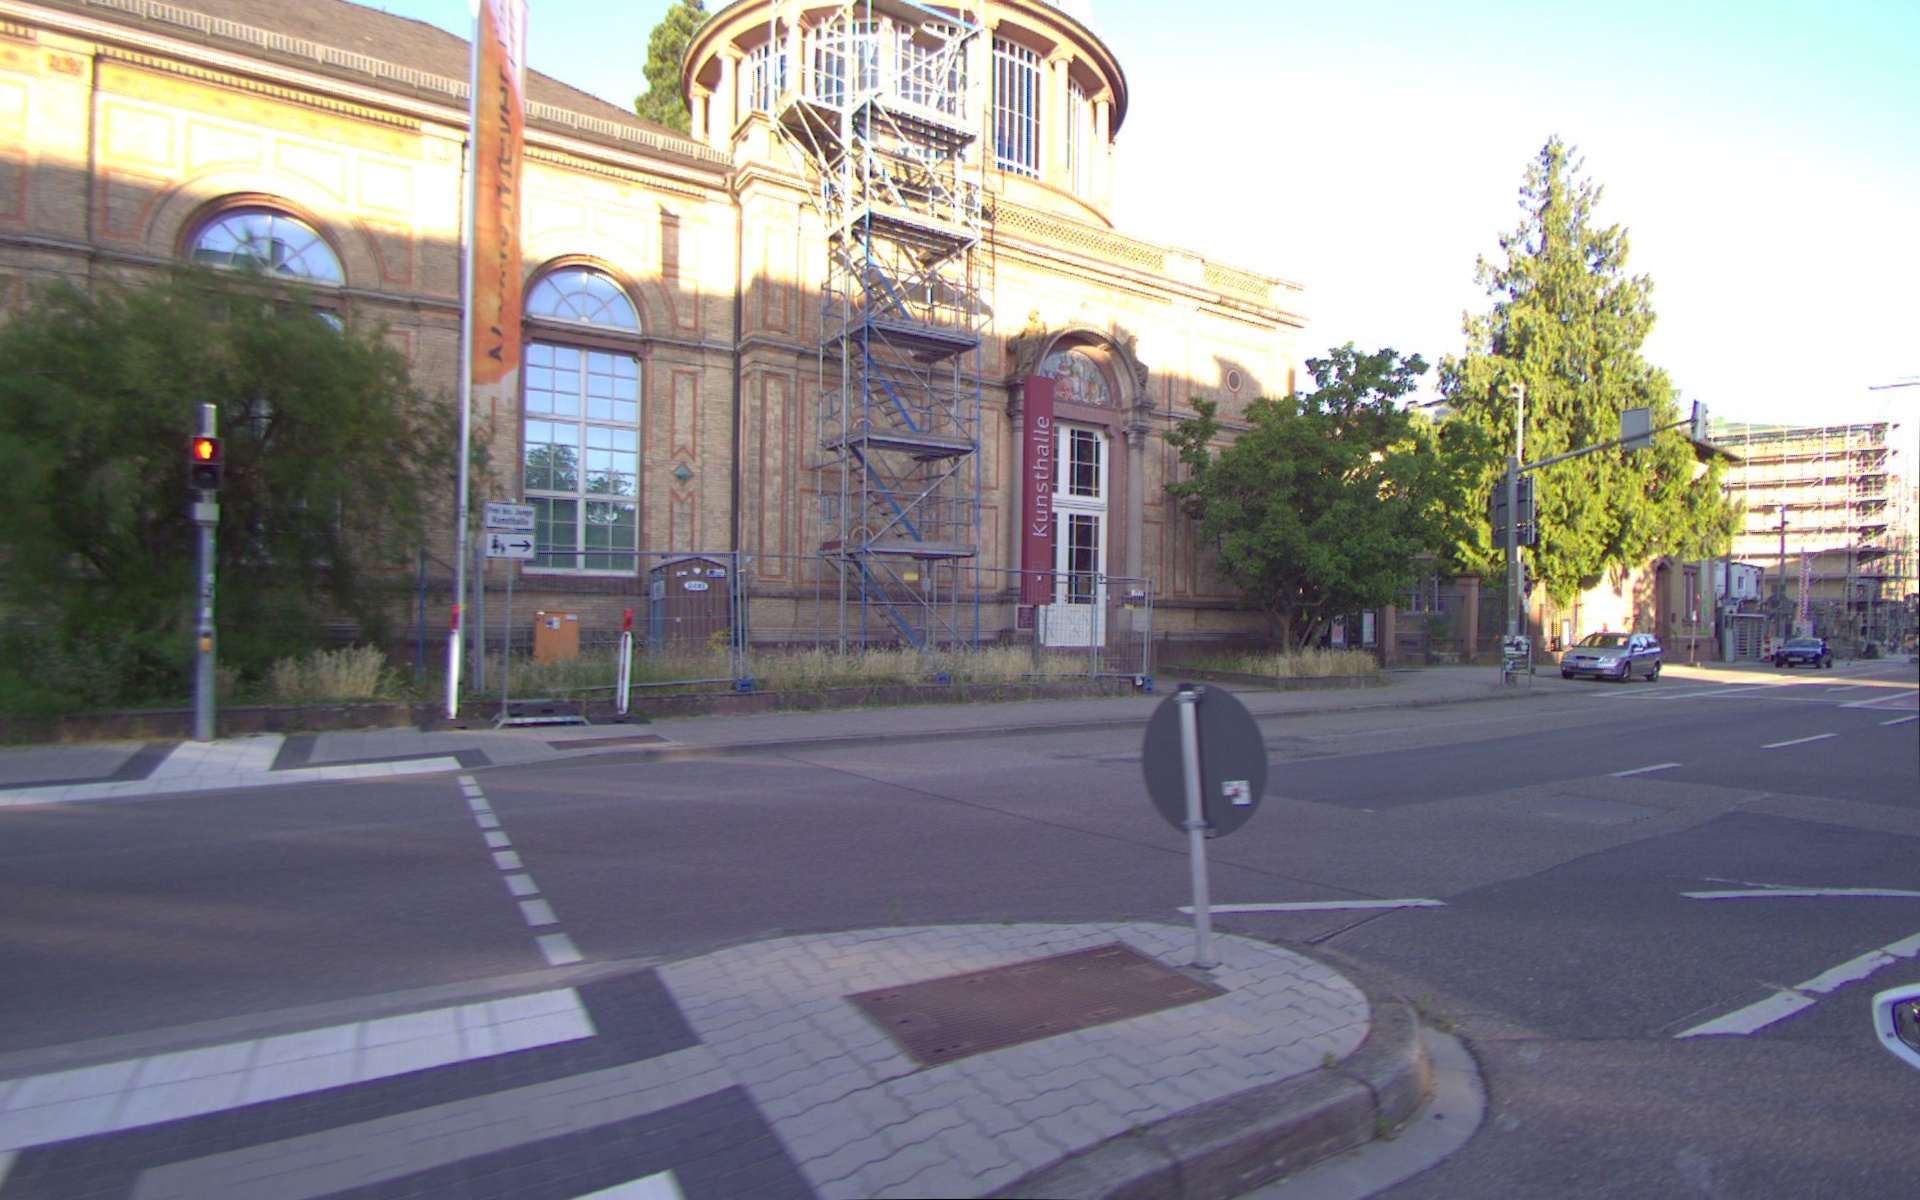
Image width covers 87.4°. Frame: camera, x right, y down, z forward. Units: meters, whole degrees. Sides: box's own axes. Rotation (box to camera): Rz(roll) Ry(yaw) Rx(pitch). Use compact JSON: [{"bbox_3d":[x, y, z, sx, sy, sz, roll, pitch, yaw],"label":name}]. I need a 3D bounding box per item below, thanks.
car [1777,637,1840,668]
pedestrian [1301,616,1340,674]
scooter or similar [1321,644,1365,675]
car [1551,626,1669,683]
[{"bbox_3d":[39.048,2.370,46.197,3.858,1.369,1.665,2,-3,-42],"label":"car"},{"bbox_3d":[10.103,1.249,28.163,0.755,1.600,0.730,1,0,-36],"label":"pedestrian"},{"bbox_3d":[10.498,1.622,27.523,1.019,0.788,0.673,2,-1,-37],"label":"scooter or similar"},{"bbox_3d":[19.842,1.626,30.617,4.332,1.568,1.730,2,0,-39],"label":"car"}]
